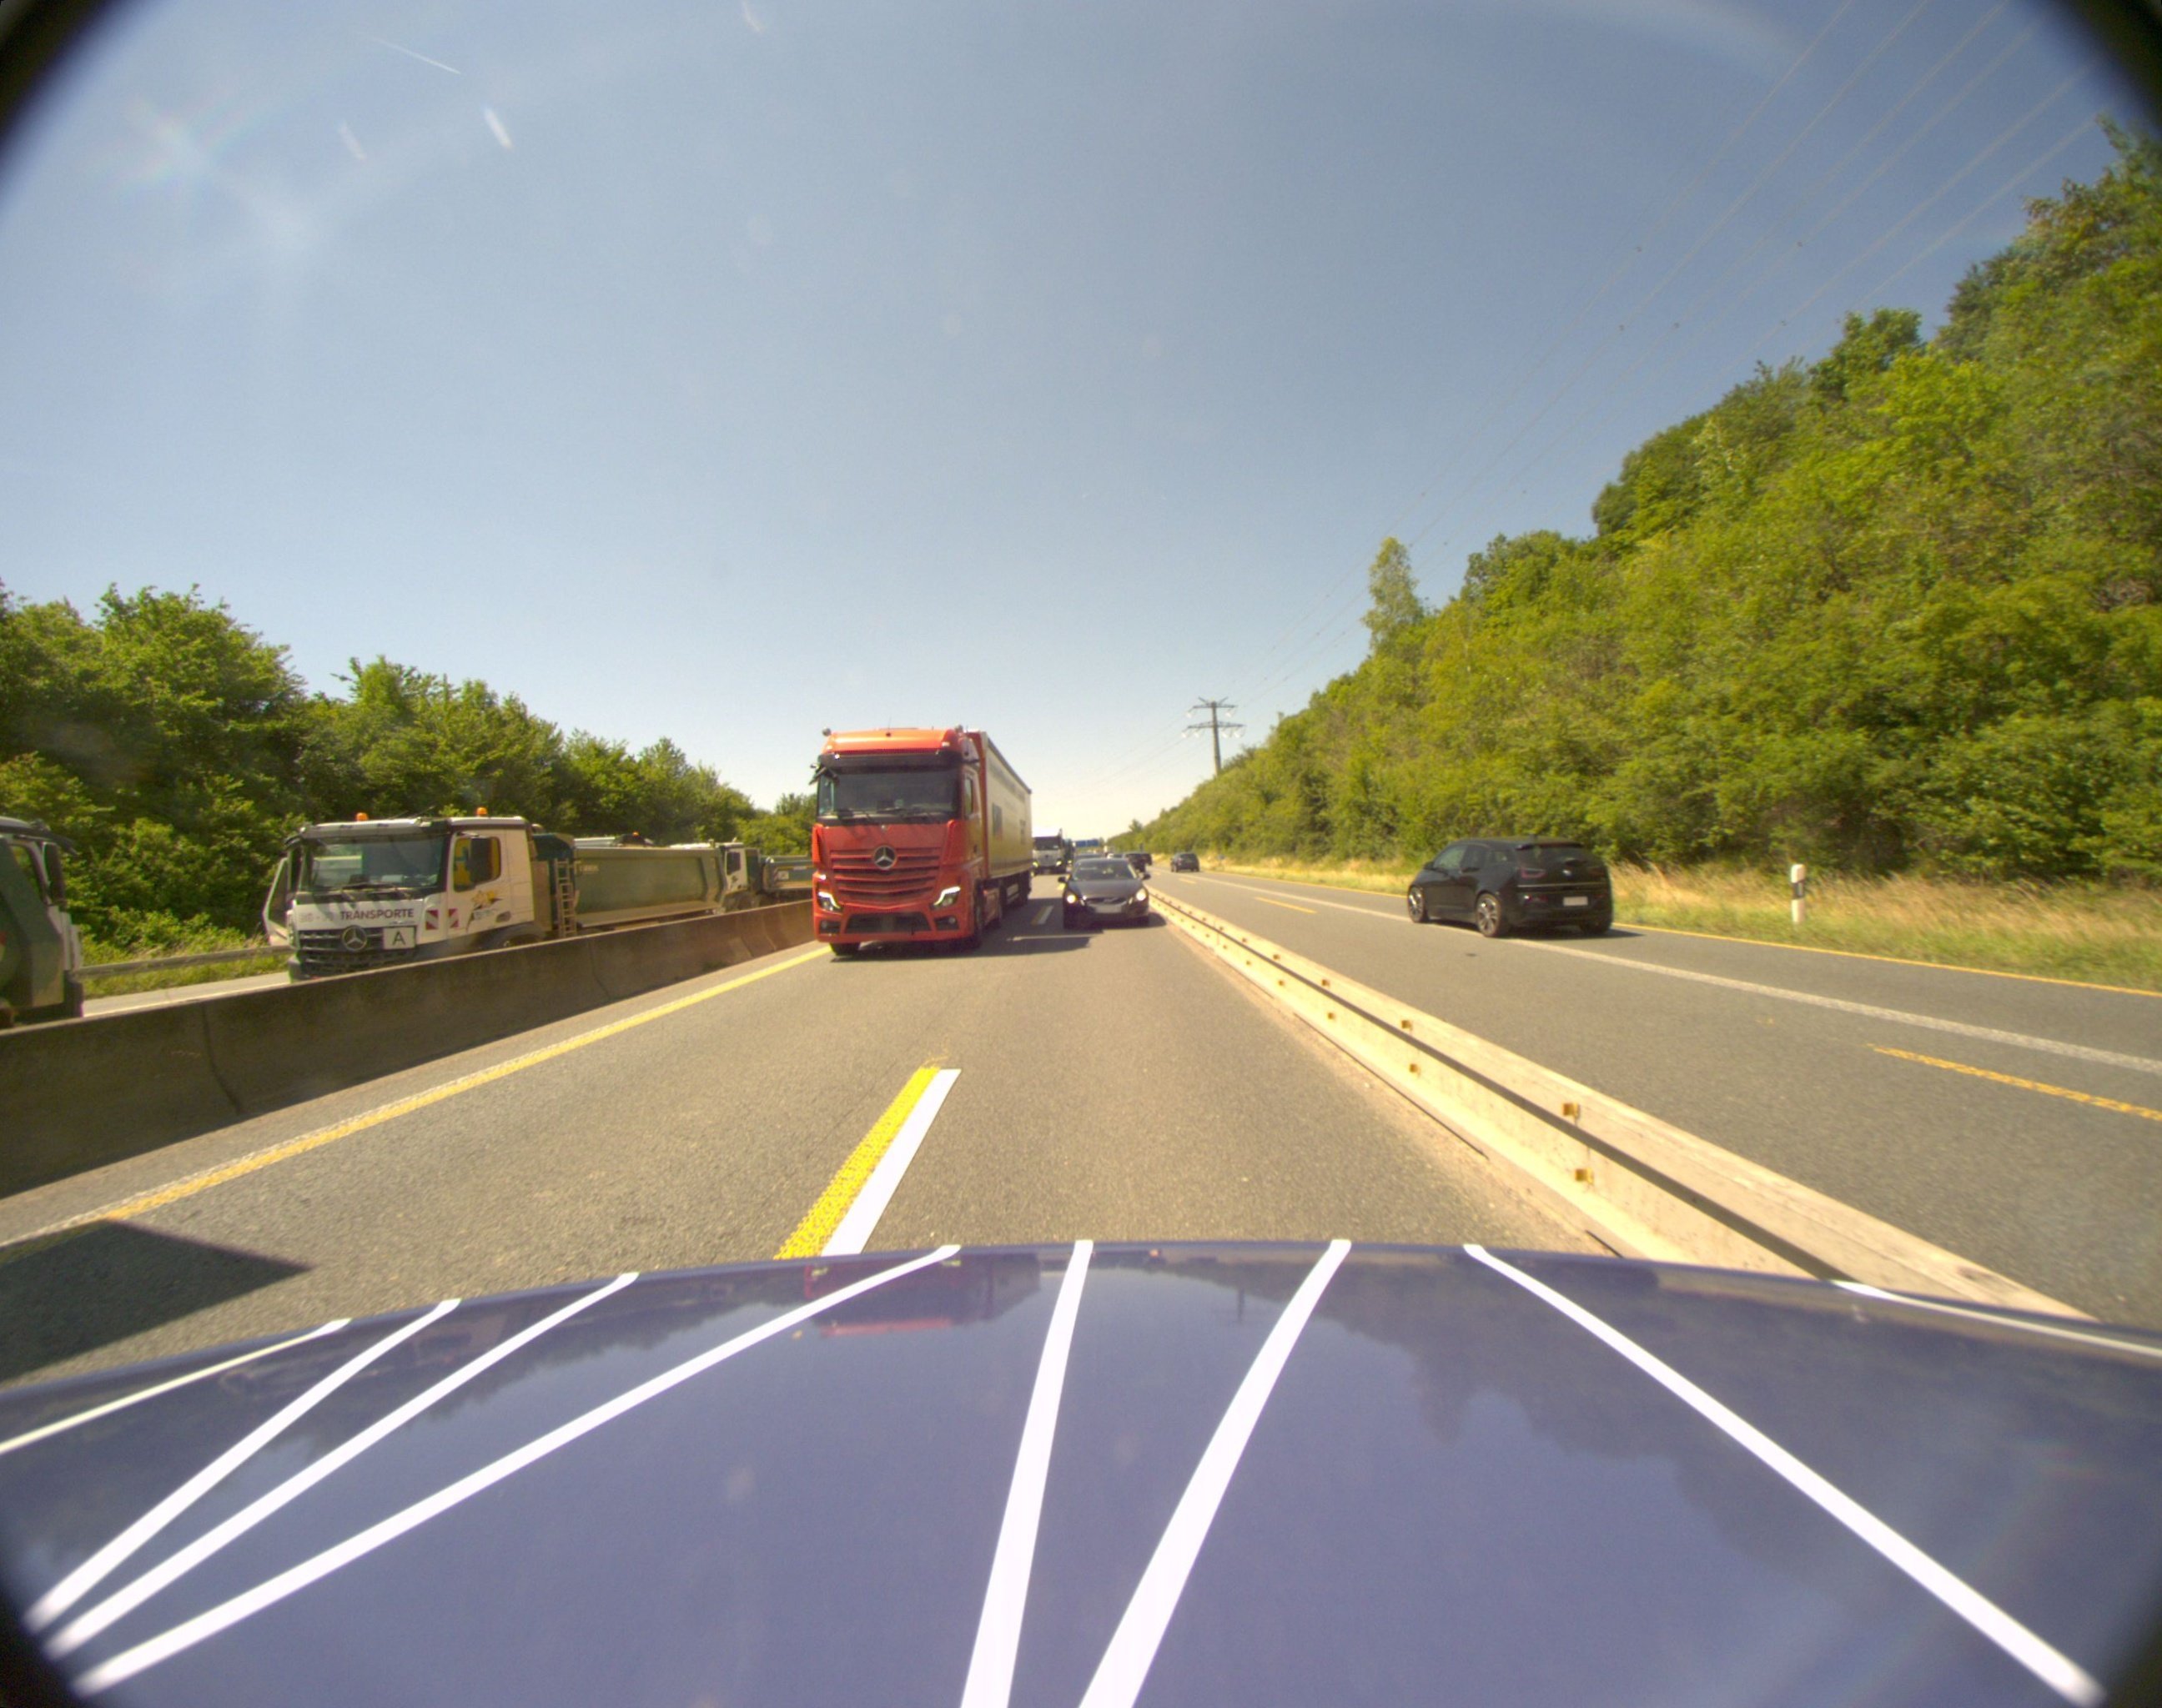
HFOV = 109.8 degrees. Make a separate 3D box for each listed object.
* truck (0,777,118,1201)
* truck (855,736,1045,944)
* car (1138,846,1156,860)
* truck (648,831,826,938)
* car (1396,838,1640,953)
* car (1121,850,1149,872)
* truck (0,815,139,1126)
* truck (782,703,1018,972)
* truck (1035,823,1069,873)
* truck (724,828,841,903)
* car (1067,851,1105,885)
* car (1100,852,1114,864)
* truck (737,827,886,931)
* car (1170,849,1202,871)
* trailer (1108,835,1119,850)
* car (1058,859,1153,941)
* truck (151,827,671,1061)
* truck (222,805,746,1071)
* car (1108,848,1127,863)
[{"bbox_3d":[-10.473,1.198,2.366,2.694,3.536,9.406,-3,0,1],"label":"truck"},{"bbox_3d":[-2.904,-0.355,21.648,2.689,3.987,13.217,-3,1,1],"label":"truck"},{"bbox_3d":[7.948,-0.174,91.519,1.704,1.556,3.994,-3,0,0],"label":"car"},{"bbox_3d":[-13.423,1.024,30.917,2.694,3.536,9.602,-3,0,0],"label":"truck"},{"bbox_3d":[7.082,0.585,12.878,1.783,1.567,4.069,-2,0,1],"label":"car"},{"bbox_3d":[4.290,0.556,60.975,1.848,1.601,4.699,-4,0,0],"label":"car"},{"bbox_3d":[-13.146,1.333,4.578,2.694,3.358,9.602,-3,0,1],"label":"truck"},{"bbox_3d":[-3.036,-0.281,14.976,2.689,3.987,6.725,-3,1,1],"label":"truck"},{"bbox_3d":[-2.493,-0.525,68.661,2.481,4.030,13.109,-3,0,0],"label":"truck"},{"bbox_3d":[-15.538,0.527,40.355,2.694,3.490,8.379,-3,0,0],"label":"truck"},{"bbox_3d":[0.294,0.660,38.993,1.767,1.523,4.698,-3,1,1],"label":"car"},{"bbox_3d":[3.718,0.564,109.256,1.848,1.524,4.671,-4,0,0],"label":"car"},{"bbox_3d":[-10.667,0.857,31.367,2.545,3.536,9.601,-3,0,0],"label":"truck"},{"bbox_3d":[7.724,0.424,56.186,1.727,1.513,4.184,-2,0,1],"label":"car"},{"bbox_3d":[9.648,-3.311,225.813,2.644,4.287,8.447,-3,0,0],"label":"trailer"},{"bbox_3d":[0.532,0.880,16.741,1.767,1.411,4.699,-2,1,2],"label":"car"},{"bbox_3d":[-13.007,1.385,16.630,2.694,3.536,9.601,-3,0,0],"label":"truck"},{"bbox_3d":[-10.291,1.129,15.209,2.694,3.536,9.602,-3,0,0],"label":"truck"},{"bbox_3d":[3.971,0.150,83.295,1.848,1.524,4.671,-4,0,0],"label":"car"}]
